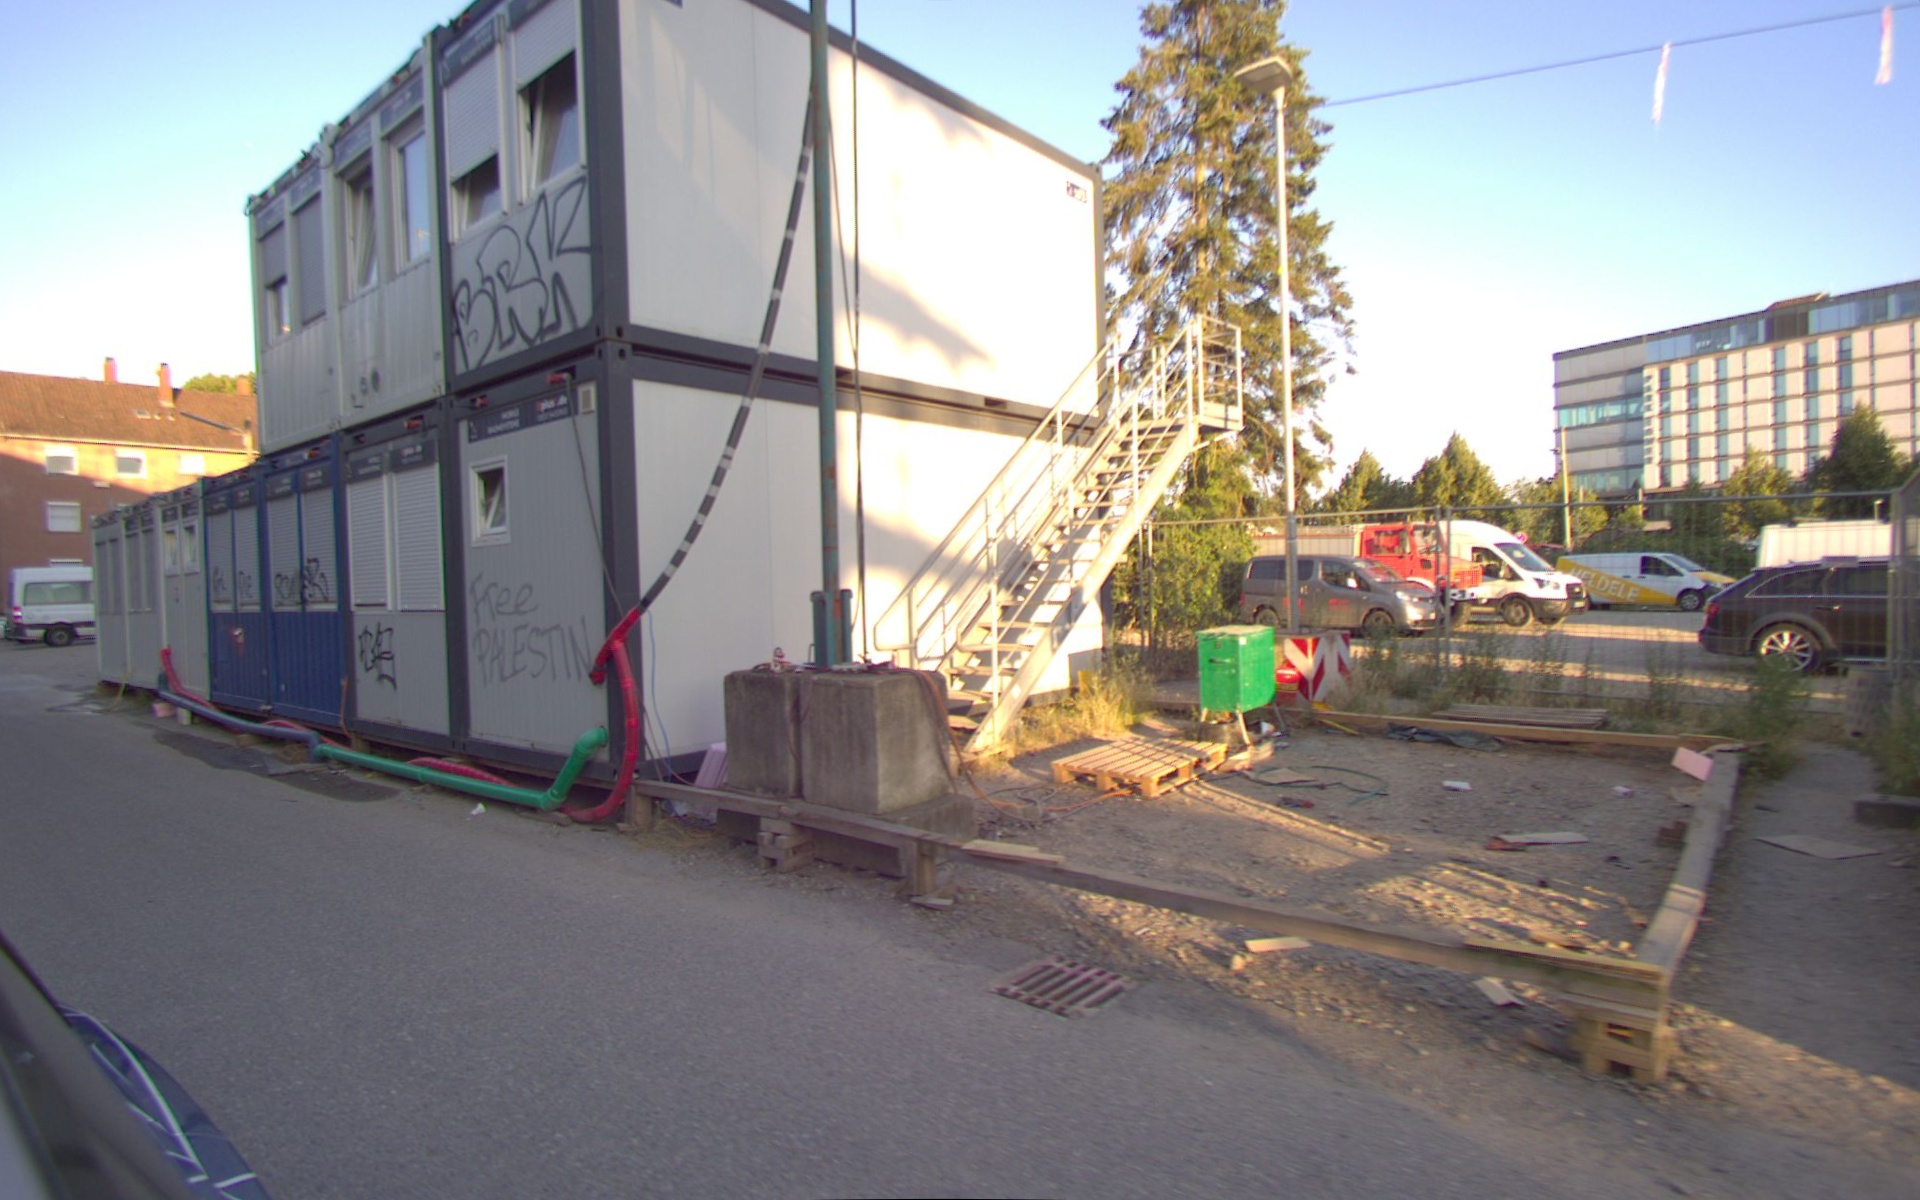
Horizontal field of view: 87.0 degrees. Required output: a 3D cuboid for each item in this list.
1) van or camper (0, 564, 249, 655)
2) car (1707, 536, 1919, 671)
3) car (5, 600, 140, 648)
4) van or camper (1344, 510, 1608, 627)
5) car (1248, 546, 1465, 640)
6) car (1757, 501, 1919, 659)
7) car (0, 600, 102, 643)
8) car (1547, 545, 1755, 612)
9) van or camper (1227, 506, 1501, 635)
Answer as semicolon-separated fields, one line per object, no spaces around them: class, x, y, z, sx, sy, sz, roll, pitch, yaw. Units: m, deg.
van or camper;-29.283;0.237;35.692;2.407;2.659;6.385;-1;3;43
car;12.160;-0.004;12.101;1.820;1.580;4.830;-2;-1;-39
car;-34.008;0.884;38.824;1.769;1.527;3.677;-1;3;43
van or camper;13.277;-0.764;26.471;2.174;2.728;5.762;-2;1;-36
car;8.680;-0.163;22.395;1.821;1.892;4.073;-2;1;-40
car;14.250;-0.334;13.867;1.819;2.165;4.832;-2;-1;-37
car;-38.831;0.906;42.765;1.810;1.527;3.677;-1;3;43
car;21.988;-0.663;32.448;2.023;1.951;5.119;-2;1;-34
van or camper;9.713;-0.647;24.752;5.802;2.791;2.231;-1;1;44
